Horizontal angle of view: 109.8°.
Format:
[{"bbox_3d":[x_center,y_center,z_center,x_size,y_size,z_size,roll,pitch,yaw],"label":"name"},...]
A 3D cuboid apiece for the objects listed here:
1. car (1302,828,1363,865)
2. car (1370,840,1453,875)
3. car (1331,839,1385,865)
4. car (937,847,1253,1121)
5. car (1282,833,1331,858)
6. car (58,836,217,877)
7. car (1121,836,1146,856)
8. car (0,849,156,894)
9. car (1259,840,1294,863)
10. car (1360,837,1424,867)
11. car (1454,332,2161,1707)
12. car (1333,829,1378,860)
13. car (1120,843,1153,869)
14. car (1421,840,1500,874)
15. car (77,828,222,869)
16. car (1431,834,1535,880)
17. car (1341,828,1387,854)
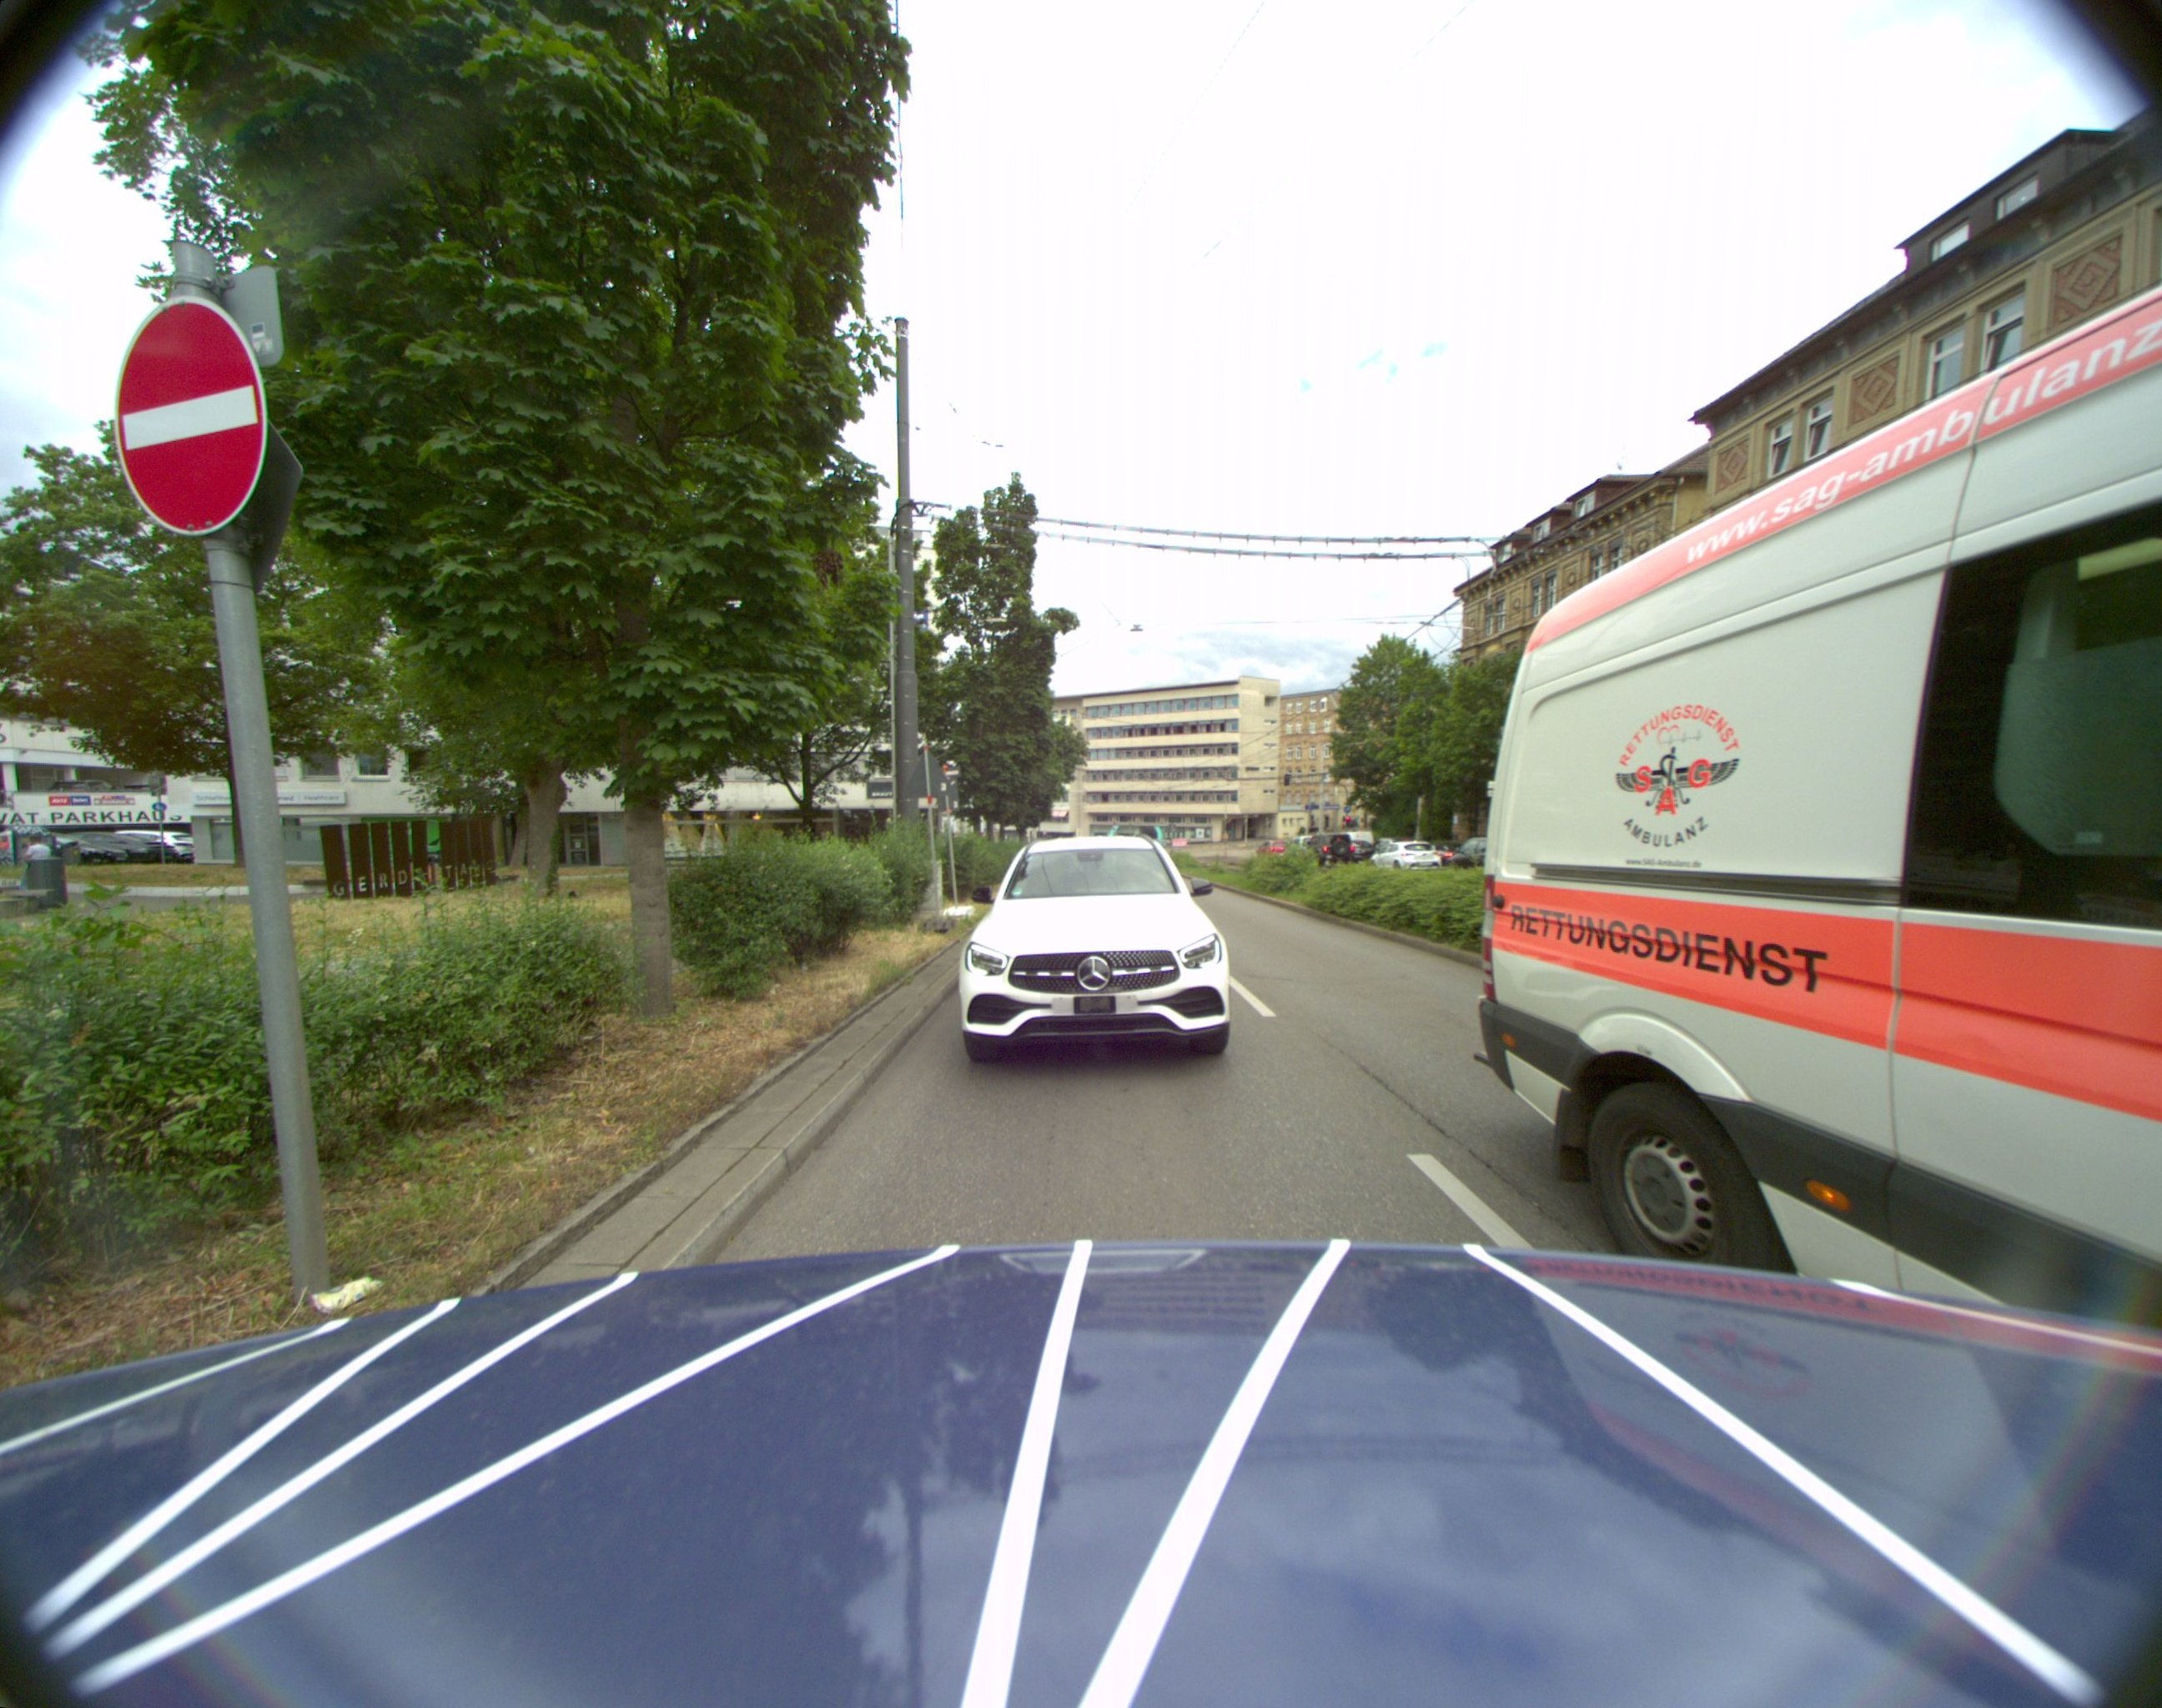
[{"bbox_3d":[14.325,-0.467,43.586,2.147,2.002,4.747,0,1,3],"label":"car"},{"bbox_3d":[14.490,0.109,33.583,1.899,1.487,3.999,0,1,0],"label":"car"},{"bbox_3d":[16.845,-0.158,46.345,1.888,1.502,3.999,0,1,1],"label":"car"},{"bbox_3d":[0.065,0.770,6.856,1.894,1.610,4.477,-1,1,-1],"label":"car"},{"bbox_3d":[14.360,-0.558,48.572,1.998,1.575,3.999,0,1,1],"label":"car"},{"bbox_3d":[-41.097,0.090,33.205,4.000,1.707,1.998,0,1,-10],"label":"car"},{"bbox_3d":[4.284,-0.636,62.106,1.998,1.543,4.318,0,1,4],"label":"car"},{"bbox_3d":[-40.895,0.667,30.748,4.000,1.707,1.998,0,1,-10],"label":"car"},{"bbox_3d":[14.157,-0.225,55.165,1.681,1.620,3.843,0,1,2],"label":"car"},{"bbox_3d":[16.839,-0.137,41.339,1.759,1.561,3.999,0,1,-1],"label":"car"},{"bbox_3d":[2.763,0.499,0.649,2.039,2.684,5.853,-1,1,0],"label":"car"},{"bbox_3d":[19.513,-0.697,54.158,1.794,2.109,3.916,0,1,1],"label":"car"},{"bbox_3d":[3.547,0.095,49.065,1.930,1.563,4.180,-2,1,2],"label":"car"},{"bbox_3d":[17.005,0.077,34.238,1.726,1.444,3.747,0,1,1],"label":"car"},{"bbox_3d":[-43.135,-0.272,35.283,4.001,1.677,1.687,-3,2,-12],"label":"car"},{"bbox_3d":[14.307,0.066,27.294,1.759,1.521,3.759,0,1,1],"label":"car"},{"bbox_3d":[21.519,-1.016,57.975,1.848,1.905,3.998,0,1,-3],"label":"car"}]
